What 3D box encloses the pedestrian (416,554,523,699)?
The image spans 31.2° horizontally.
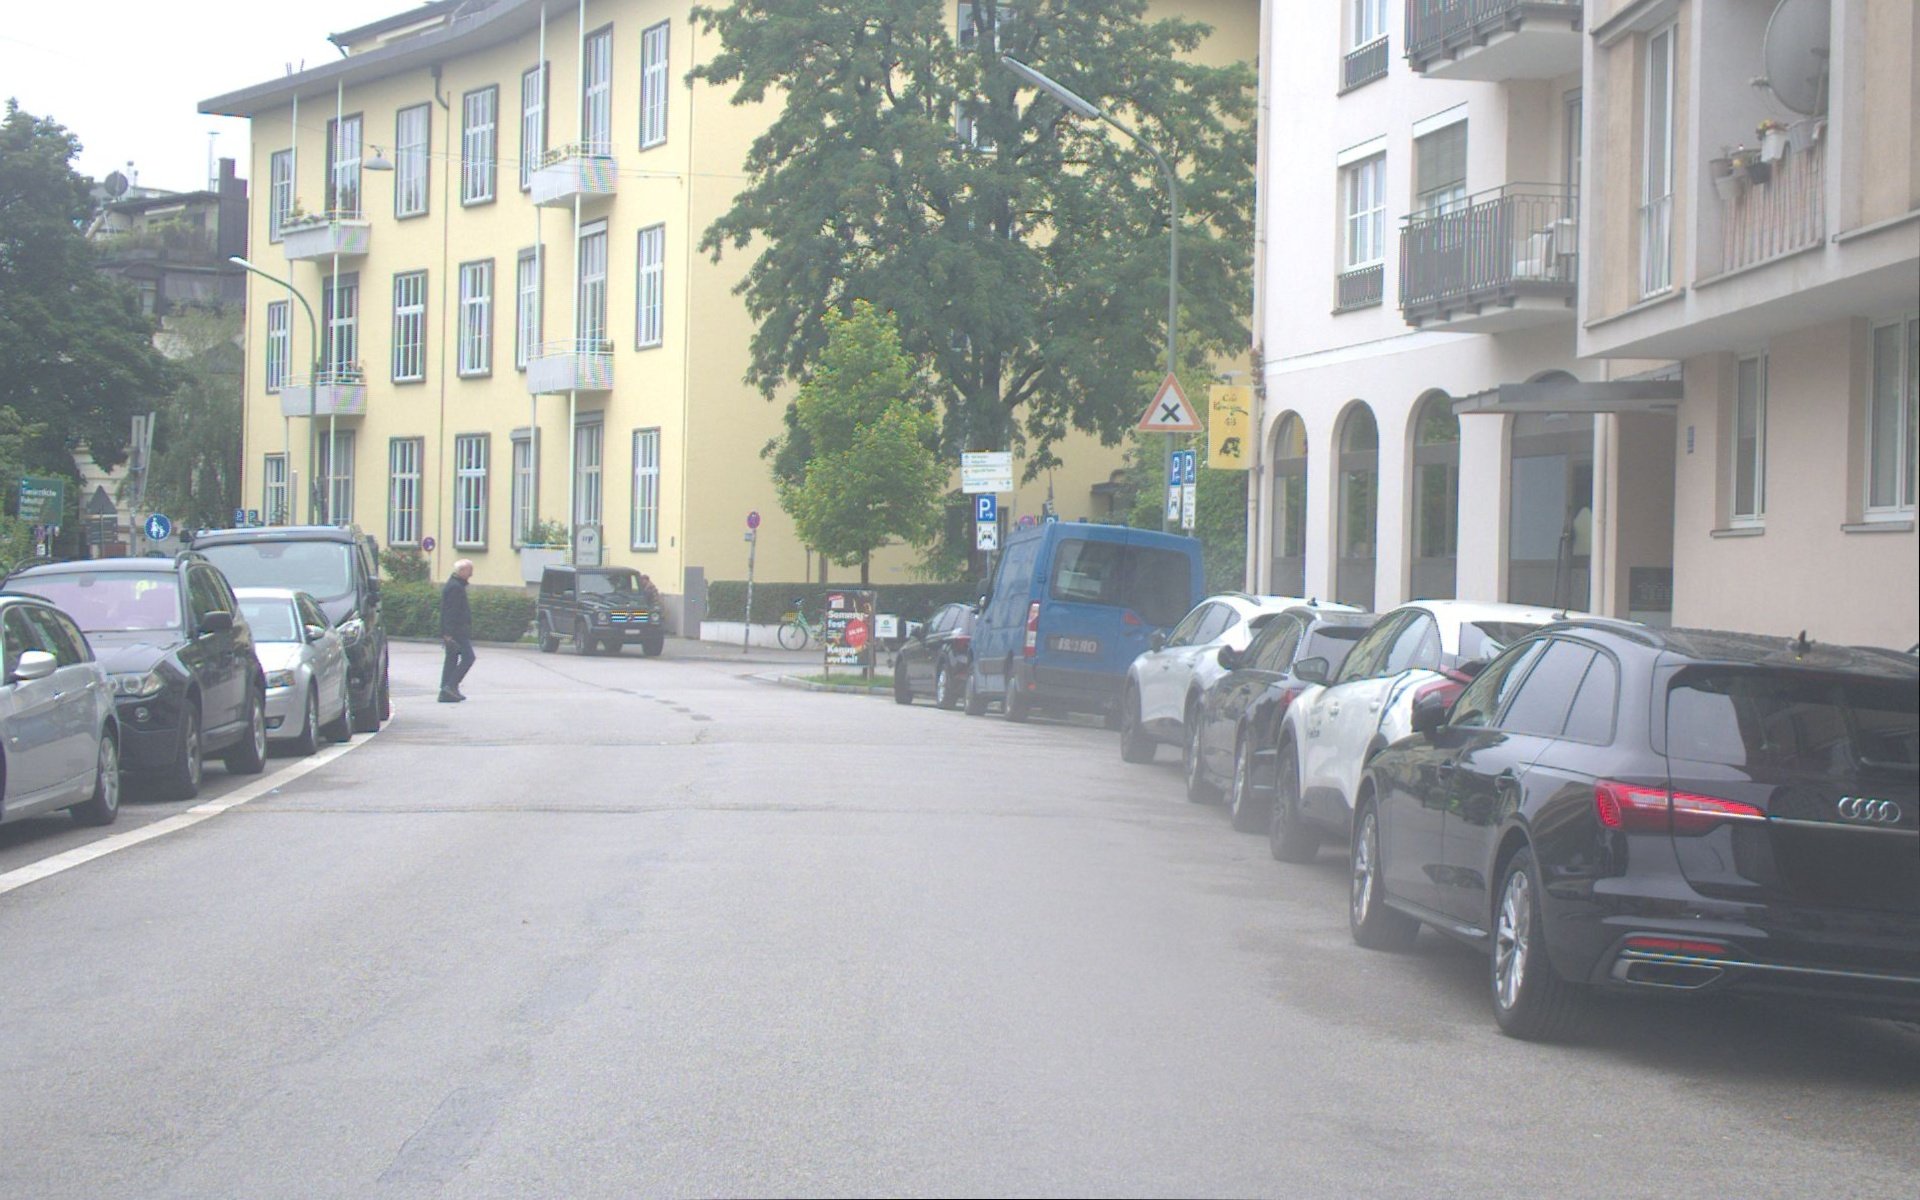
[{"bbox_3d":[-6.177,0.332,43.314,0.934,1.794,0.954,0,0,43],"label":"pedestrian"}]

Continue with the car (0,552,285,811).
[{"bbox_3d":[-5.976,0.510,24.287,1.697,1.637,4.491,-1,1,-3],"label":"car"}]

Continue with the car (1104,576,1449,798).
[{"bbox_3d":[2.510,0.648,28.454,1.785,1.528,4.649,4,0,-7],"label":"car"}]

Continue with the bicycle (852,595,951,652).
[{"bbox_3d":[-1.297,0.515,76.389,2.068,1.197,0.595,2,0,12],"label":"bicycle"}]

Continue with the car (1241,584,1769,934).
[{"bbox_3d":[2.696,0.723,18.091,1.694,1.484,4.581,3,0,-4],"label":"car"}]

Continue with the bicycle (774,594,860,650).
[{"bbox_3d":[-3.227,0.496,77.531,1.926,1.197,0.594,2,1,35],"label":"bicycle"}]

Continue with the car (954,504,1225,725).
[{"bbox_3d":[1.415,0.216,40.115,2.078,2.226,5.245,5,-2,-8],"label":"car"}]

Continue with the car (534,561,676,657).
[{"bbox_3d":[-7.928,0.172,76.468,1.762,1.868,4.380,5,-1,-23],"label":"car"}]

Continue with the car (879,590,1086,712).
[{"bbox_3d":[0.248,0.651,46.243,1.676,1.384,4.307,5,-1,-14],"label":"car"}]

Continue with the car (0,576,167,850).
[{"bbox_3d":[-5.859,0.603,19.528,1.653,1.409,4.771,-2,1,-1],"label":"car"}]

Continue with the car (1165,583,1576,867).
[{"bbox_3d":[2.610,0.734,23.124,1.879,1.517,5.164,5,1,-2],"label":"car"}]

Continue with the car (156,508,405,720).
[{"bbox_3d":[-6.785,0.115,34.824,2.072,1.957,5.351,-1,0,-7],"label":"car"}]

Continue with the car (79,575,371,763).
[{"bbox_3d":[-6.230,0.531,29.589,1.694,1.388,4.501,-3,1,-3],"label":"car"}]

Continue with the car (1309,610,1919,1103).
[{"bbox_3d":[2.656,0.829,13.146,1.745,1.383,4.954,4,0,-4],"label":"car"}]

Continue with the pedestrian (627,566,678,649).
[{"bbox_3d":[-6.863,0.173,76.701,0.874,1.817,0.798,2,0,-22],"label":"pedestrian"}]

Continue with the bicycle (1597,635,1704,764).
[{"bbox_3d":[6.376,0.903,31.807,0.455,1.107,1.854,2,1,-4],"label":"bicycle"}]
